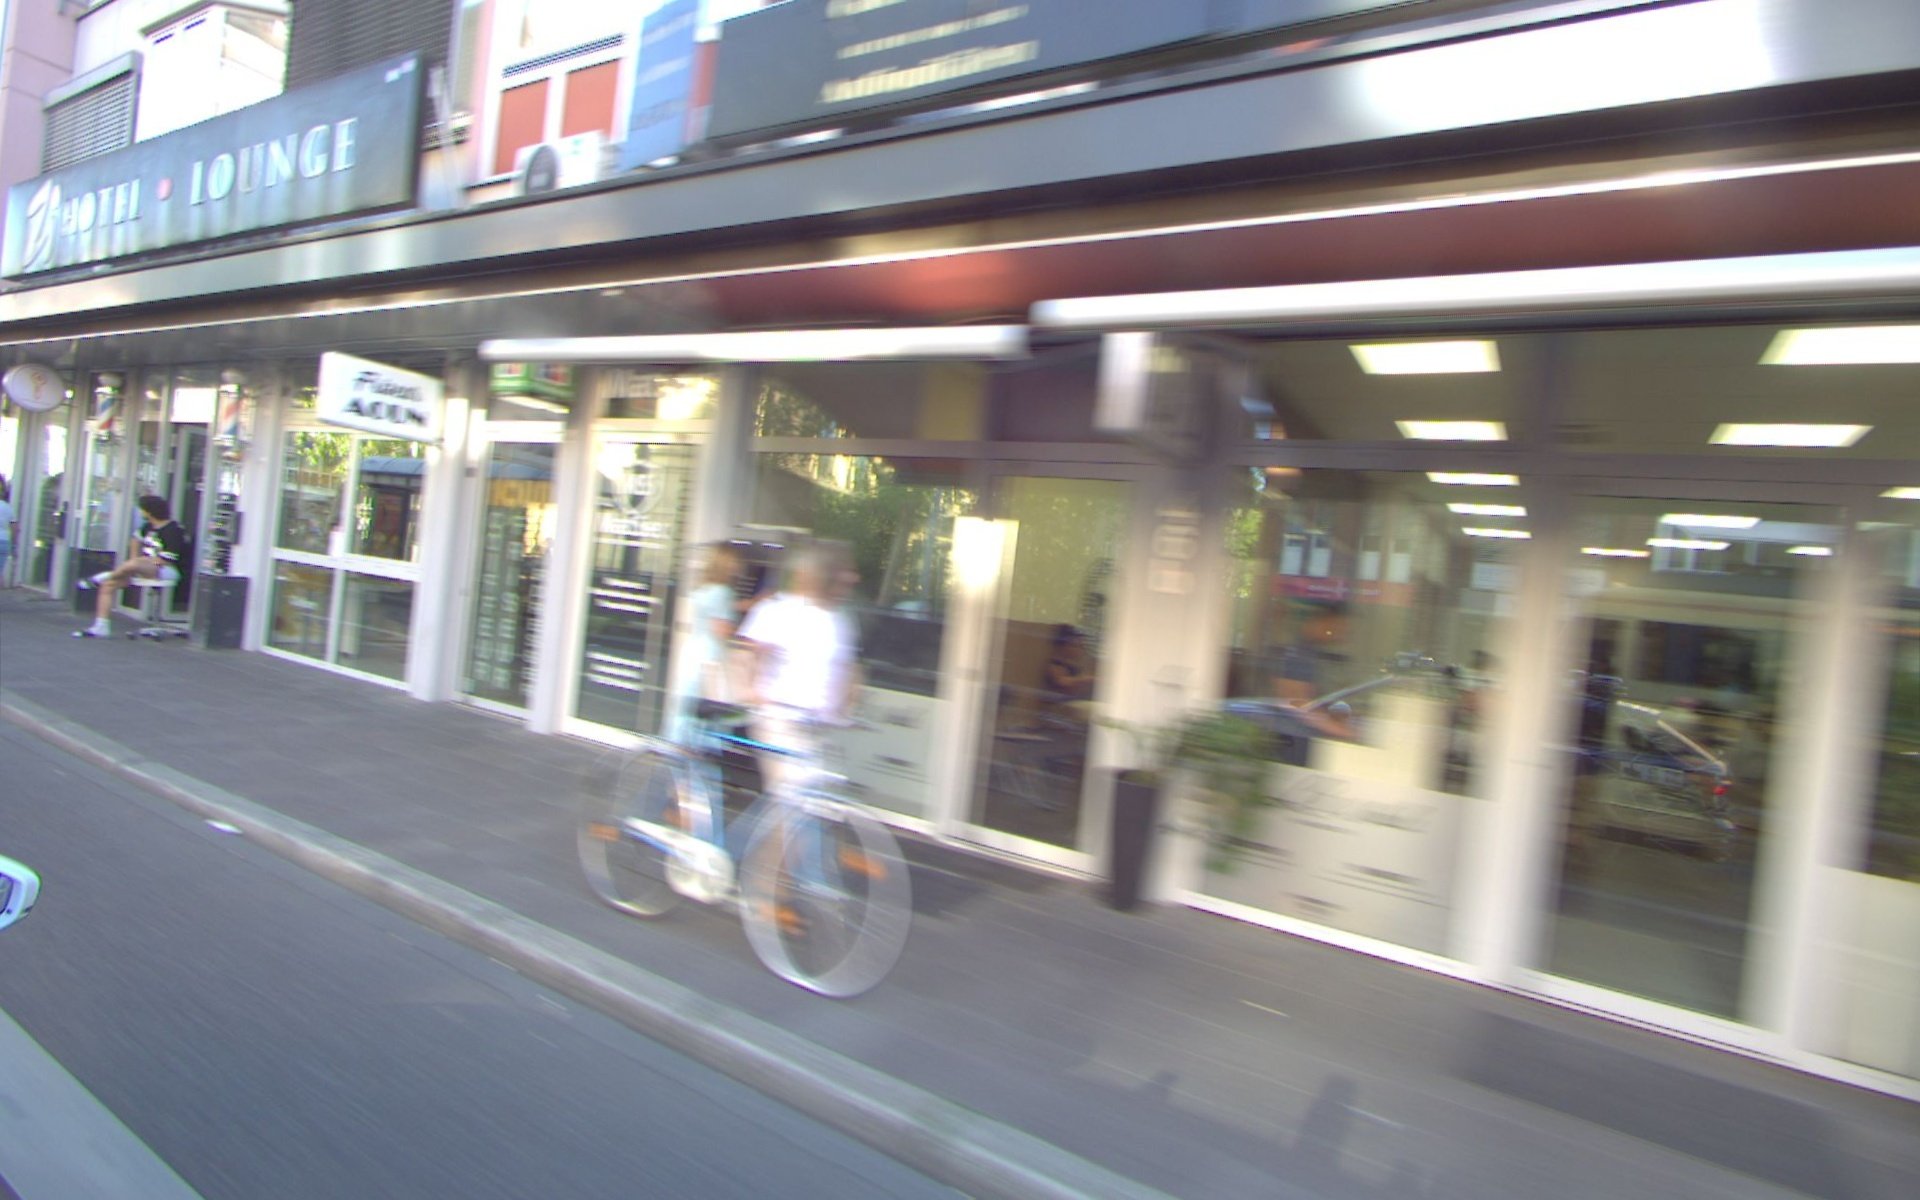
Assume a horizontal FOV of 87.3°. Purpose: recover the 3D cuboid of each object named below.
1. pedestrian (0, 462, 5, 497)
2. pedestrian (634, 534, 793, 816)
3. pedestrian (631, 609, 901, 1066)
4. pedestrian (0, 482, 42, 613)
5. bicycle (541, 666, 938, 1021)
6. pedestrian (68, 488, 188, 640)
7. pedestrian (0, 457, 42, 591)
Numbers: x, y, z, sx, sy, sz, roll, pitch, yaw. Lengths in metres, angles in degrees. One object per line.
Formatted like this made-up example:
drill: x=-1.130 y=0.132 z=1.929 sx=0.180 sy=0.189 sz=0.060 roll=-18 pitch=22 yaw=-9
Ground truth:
pedestrian: x=-11.111 y=-0.713 z=10.917 sx=0.801 sy=1.747 sz=0.745 roll=6 pitch=-1 yaw=32
pedestrian: x=-1.522 y=0.446 z=6.231 sx=0.544 sy=1.610 sz=0.601 roll=7 pitch=1 yaw=31
pedestrian: x=-0.803 y=0.910 z=4.216 sx=0.693 sy=1.651 sz=0.663 roll=7 pitch=2 yaw=31
pedestrian: x=-11.313 y=-0.630 z=11.776 sx=0.643 sy=1.503 sz=0.636 roll=7 pitch=3 yaw=31
bicycle: x=-0.947 y=0.874 z=4.025 sx=1.731 sy=1.002 sz=0.303 roll=7 pitch=1 yaw=31
pedestrian: x=-8.683 y=-0.362 z=10.502 sx=0.695 sy=1.492 sz=0.738 roll=7 pitch=3 yaw=32
pedestrian: x=-13.224 y=-1.059 z=13.868 sx=0.492 sy=1.792 sz=0.629 roll=7 pitch=2 yaw=32
